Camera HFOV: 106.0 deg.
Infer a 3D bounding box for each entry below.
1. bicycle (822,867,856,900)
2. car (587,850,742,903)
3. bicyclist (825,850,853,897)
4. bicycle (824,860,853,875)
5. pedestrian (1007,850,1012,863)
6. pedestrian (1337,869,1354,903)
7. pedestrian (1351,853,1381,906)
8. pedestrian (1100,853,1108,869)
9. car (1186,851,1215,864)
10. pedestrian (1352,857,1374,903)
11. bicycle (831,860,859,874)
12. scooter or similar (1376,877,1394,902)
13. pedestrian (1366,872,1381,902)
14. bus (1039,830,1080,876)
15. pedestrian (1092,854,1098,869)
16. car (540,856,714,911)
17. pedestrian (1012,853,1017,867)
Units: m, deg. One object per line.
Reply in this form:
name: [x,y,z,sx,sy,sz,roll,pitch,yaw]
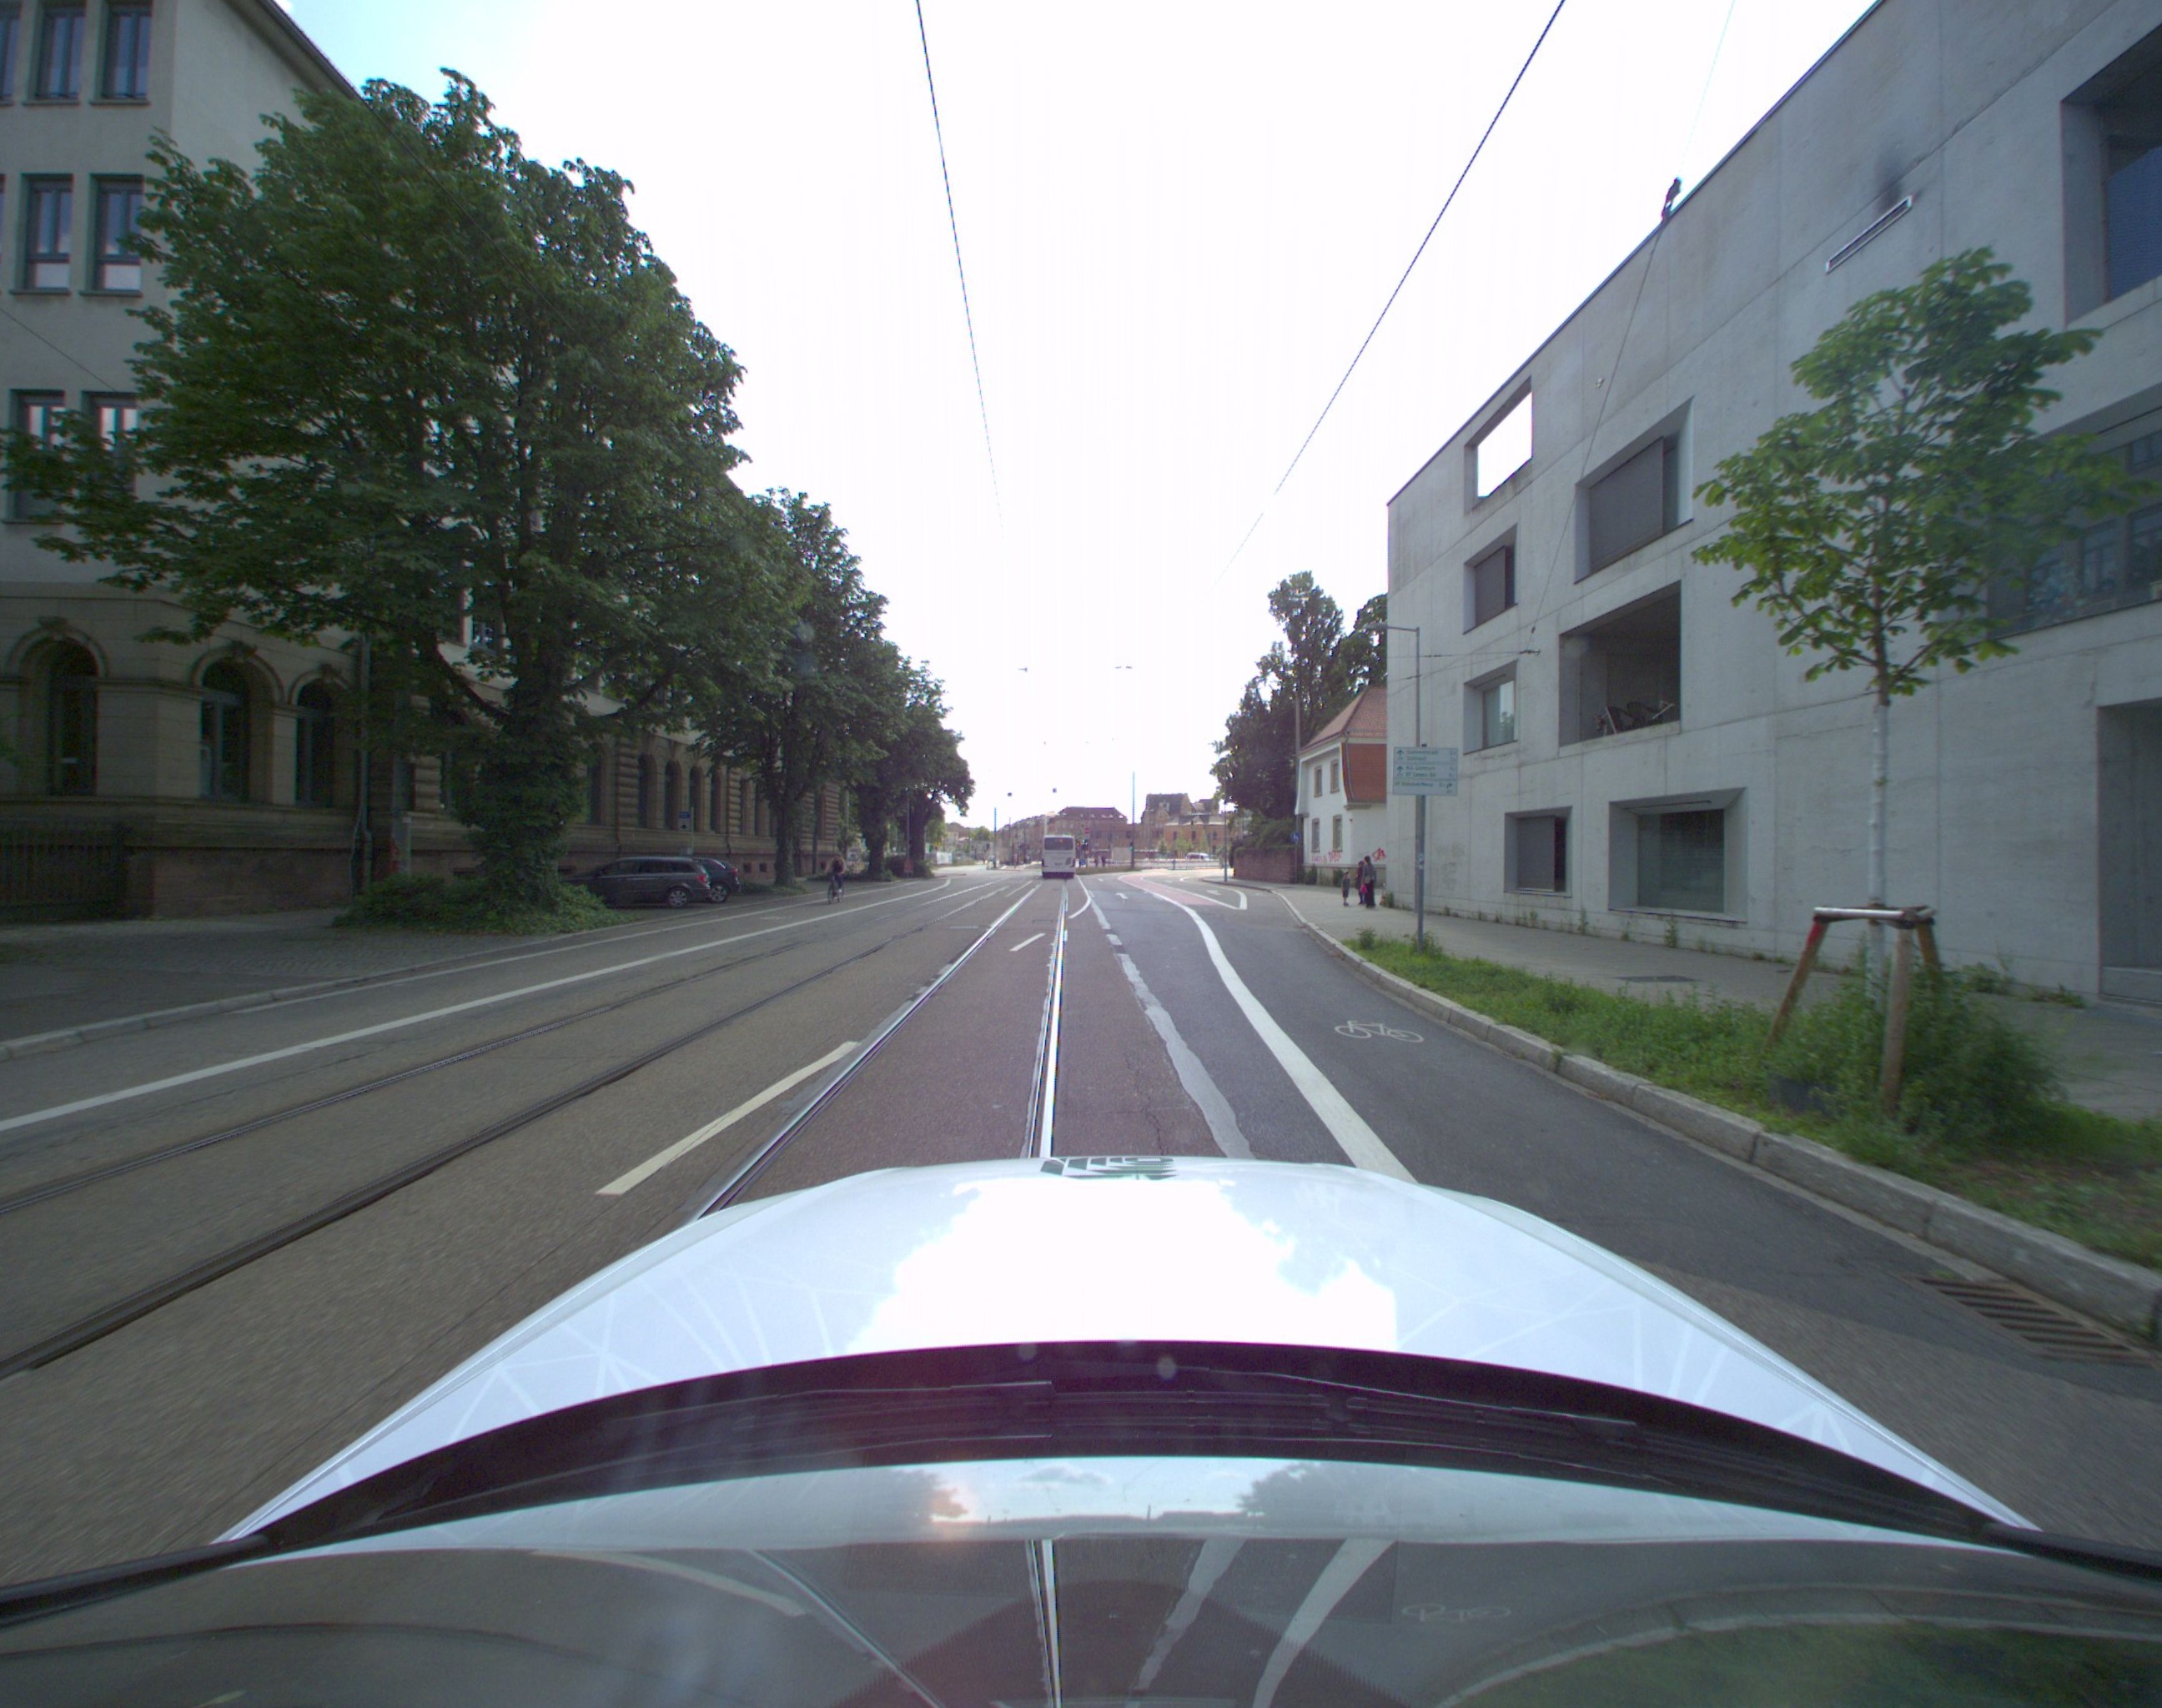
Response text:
bicycle: [-8.041,0.961,27.077,0.697,1.017,1.816,-1,0,-5]
car: [-13.398,0.715,26.267,4.256,1.550,1.908,2,0,-33]
bicyclist: [-8.041,0.640,27.039,0.689,1.519,0.866,-1,0,-5]
bicycle: [-19.916,1.069,66.873,2.109,1.168,0.729,1,-1,-3]
pedestrian: [-10.226,0.363,116.231,0.609,1.885,0.793,0,0,-1]
pedestrian: [9.522,1.149,29.288,0.424,1.200,0.401,-2,1,-35]
pedestrian: [9.598,0.846,27.469,0.683,1.724,0.745,-1,1,-5]
pedestrian: [2.783,0.883,100.177,0.605,1.885,0.798,0,0,45]
car: [23.514,0.693,160.490,2.312,2.319,5.526,1,-1,-37]
pedestrian: [10.114,0.927,29.217,0.519,1.580,0.546,-1,1,-11]
bicycle: [-19.970,1.086,68.968,2.109,1.168,0.729,1,-1,-3]
scooter or similar: [10.585,1.240,28.354,0.551,0.800,0.265,-3,2,-25]
pedestrian: [10.248,1.162,28.513,0.342,1.010,0.396,-1,1,-10]
bus: [-1.752,-0.014,66.203,2.910,3.328,12.196,1,-1,-2]
pedestrian: [1.682,0.909,98.454,0.608,1.707,0.624,0,0,5]
car: [-13.076,0.810,23.669,4.252,1.447,1.777,0,0,-29]
pedestrian: [-9.102,0.849,111.255,0.609,1.885,0.793,0,0,-1]
